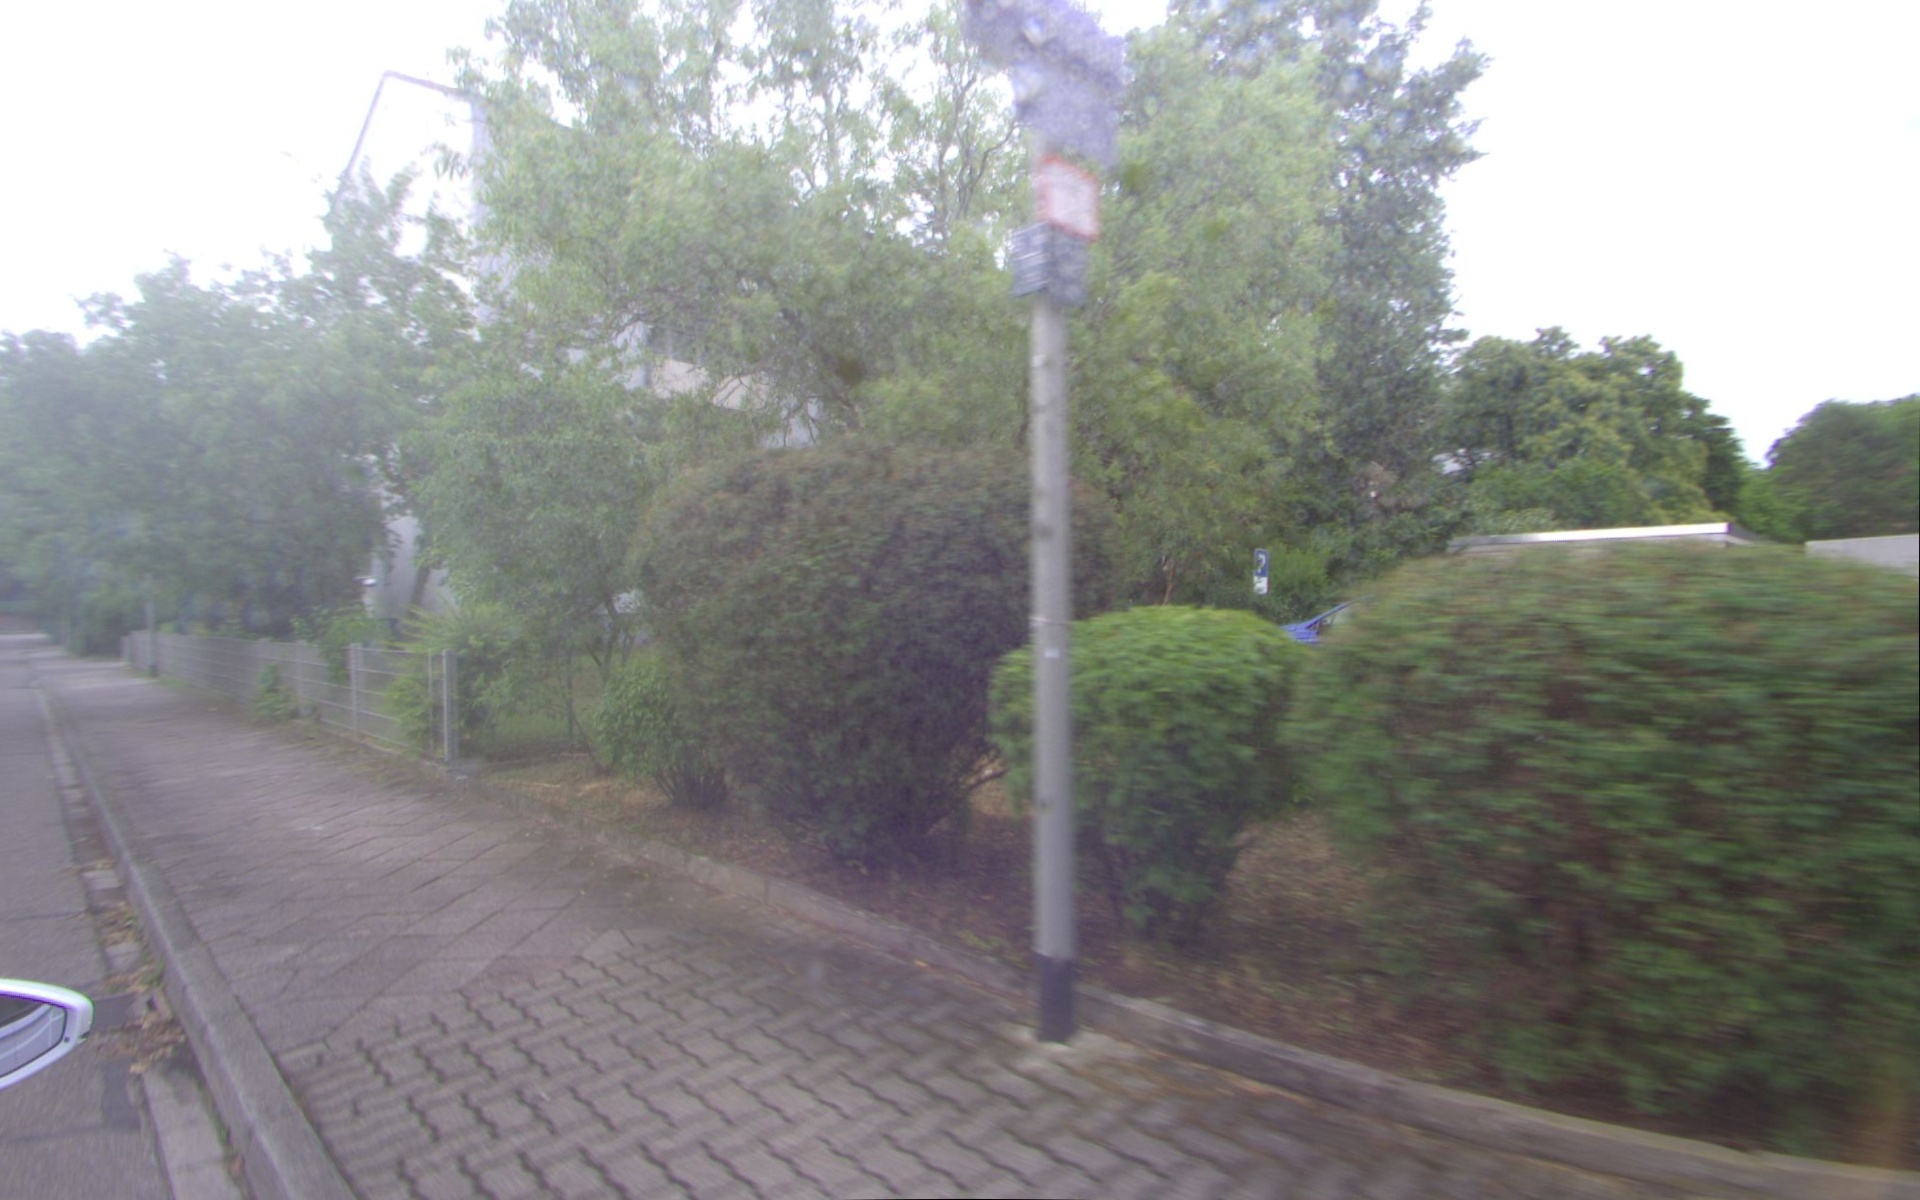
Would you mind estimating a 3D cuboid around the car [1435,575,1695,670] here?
[{"bbox_3d":[11.156,0.386,18.594,3.947,1.573,1.987,-1,1,35],"label":"car"}]

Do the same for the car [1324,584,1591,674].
[{"bbox_3d":[8.709,0.456,17.696,3.868,1.399,1.954,0,0,43],"label":"car"}]

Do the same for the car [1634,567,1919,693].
[{"bbox_3d":[12.345,0.386,14.075,1.969,1.610,4.506,-1,0,-45],"label":"car"}]

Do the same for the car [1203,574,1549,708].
[{"bbox_3d":[5.505,0.476,13.487,3.868,1.531,2.009,0,0,43],"label":"car"}]

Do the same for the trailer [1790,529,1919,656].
[{"bbox_3d":[20.281,-0.167,20.800,4.576,2.558,1.925,-1,0,44],"label":"trailer"}]
